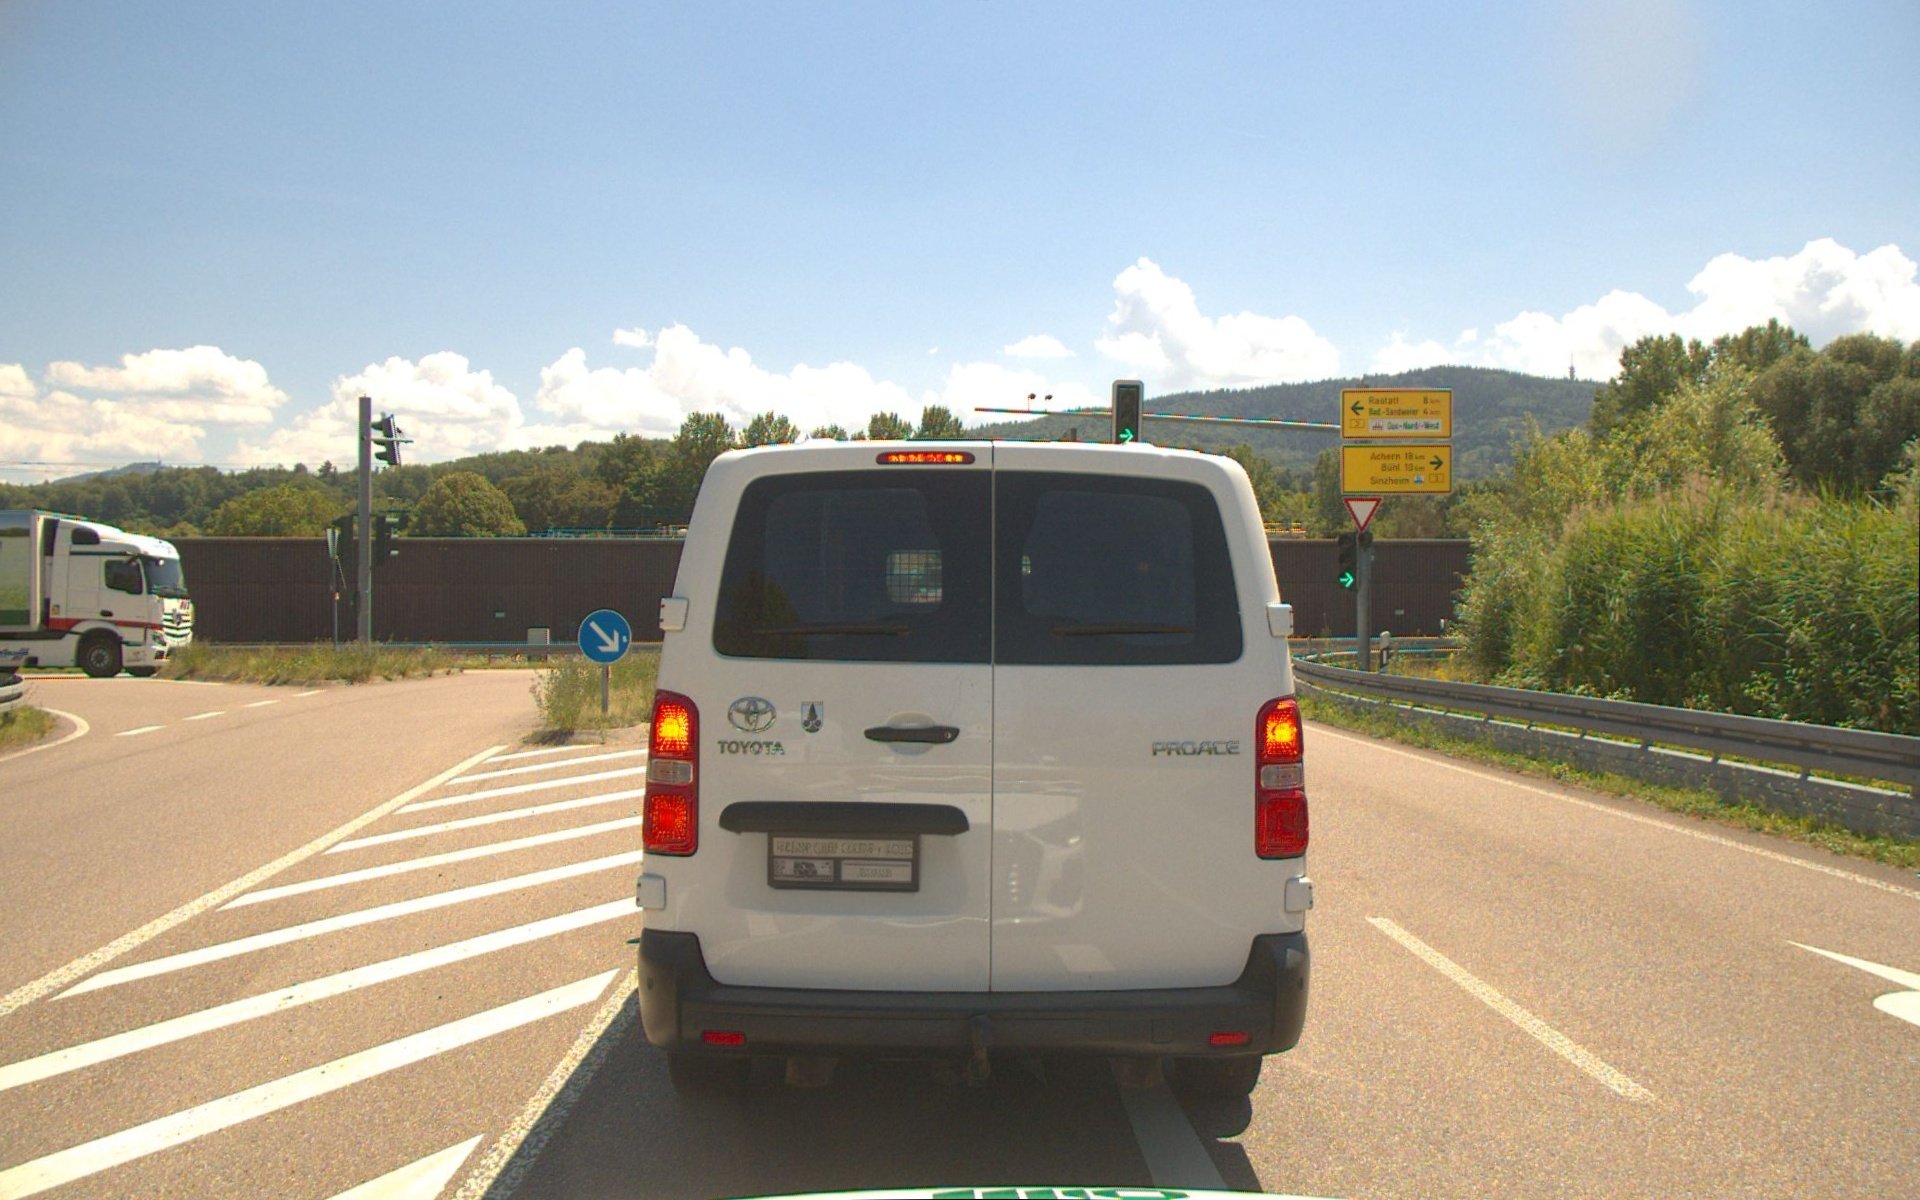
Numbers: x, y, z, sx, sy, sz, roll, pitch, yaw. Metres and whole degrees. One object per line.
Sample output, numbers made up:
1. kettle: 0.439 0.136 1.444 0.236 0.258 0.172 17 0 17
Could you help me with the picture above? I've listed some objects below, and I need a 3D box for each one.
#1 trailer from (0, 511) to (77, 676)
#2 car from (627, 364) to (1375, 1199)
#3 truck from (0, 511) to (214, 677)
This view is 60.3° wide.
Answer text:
1. trailer: -29.522 -0.174 41.467 12.877 4.024 3.060 0 -1 -3
2. car: 0.072 0.478 5.943 1.778 2.053 3.999 0 0 -1
3. truck: -22.393 -0.136 41.805 5.649 4.024 3.061 0 -1 -3
